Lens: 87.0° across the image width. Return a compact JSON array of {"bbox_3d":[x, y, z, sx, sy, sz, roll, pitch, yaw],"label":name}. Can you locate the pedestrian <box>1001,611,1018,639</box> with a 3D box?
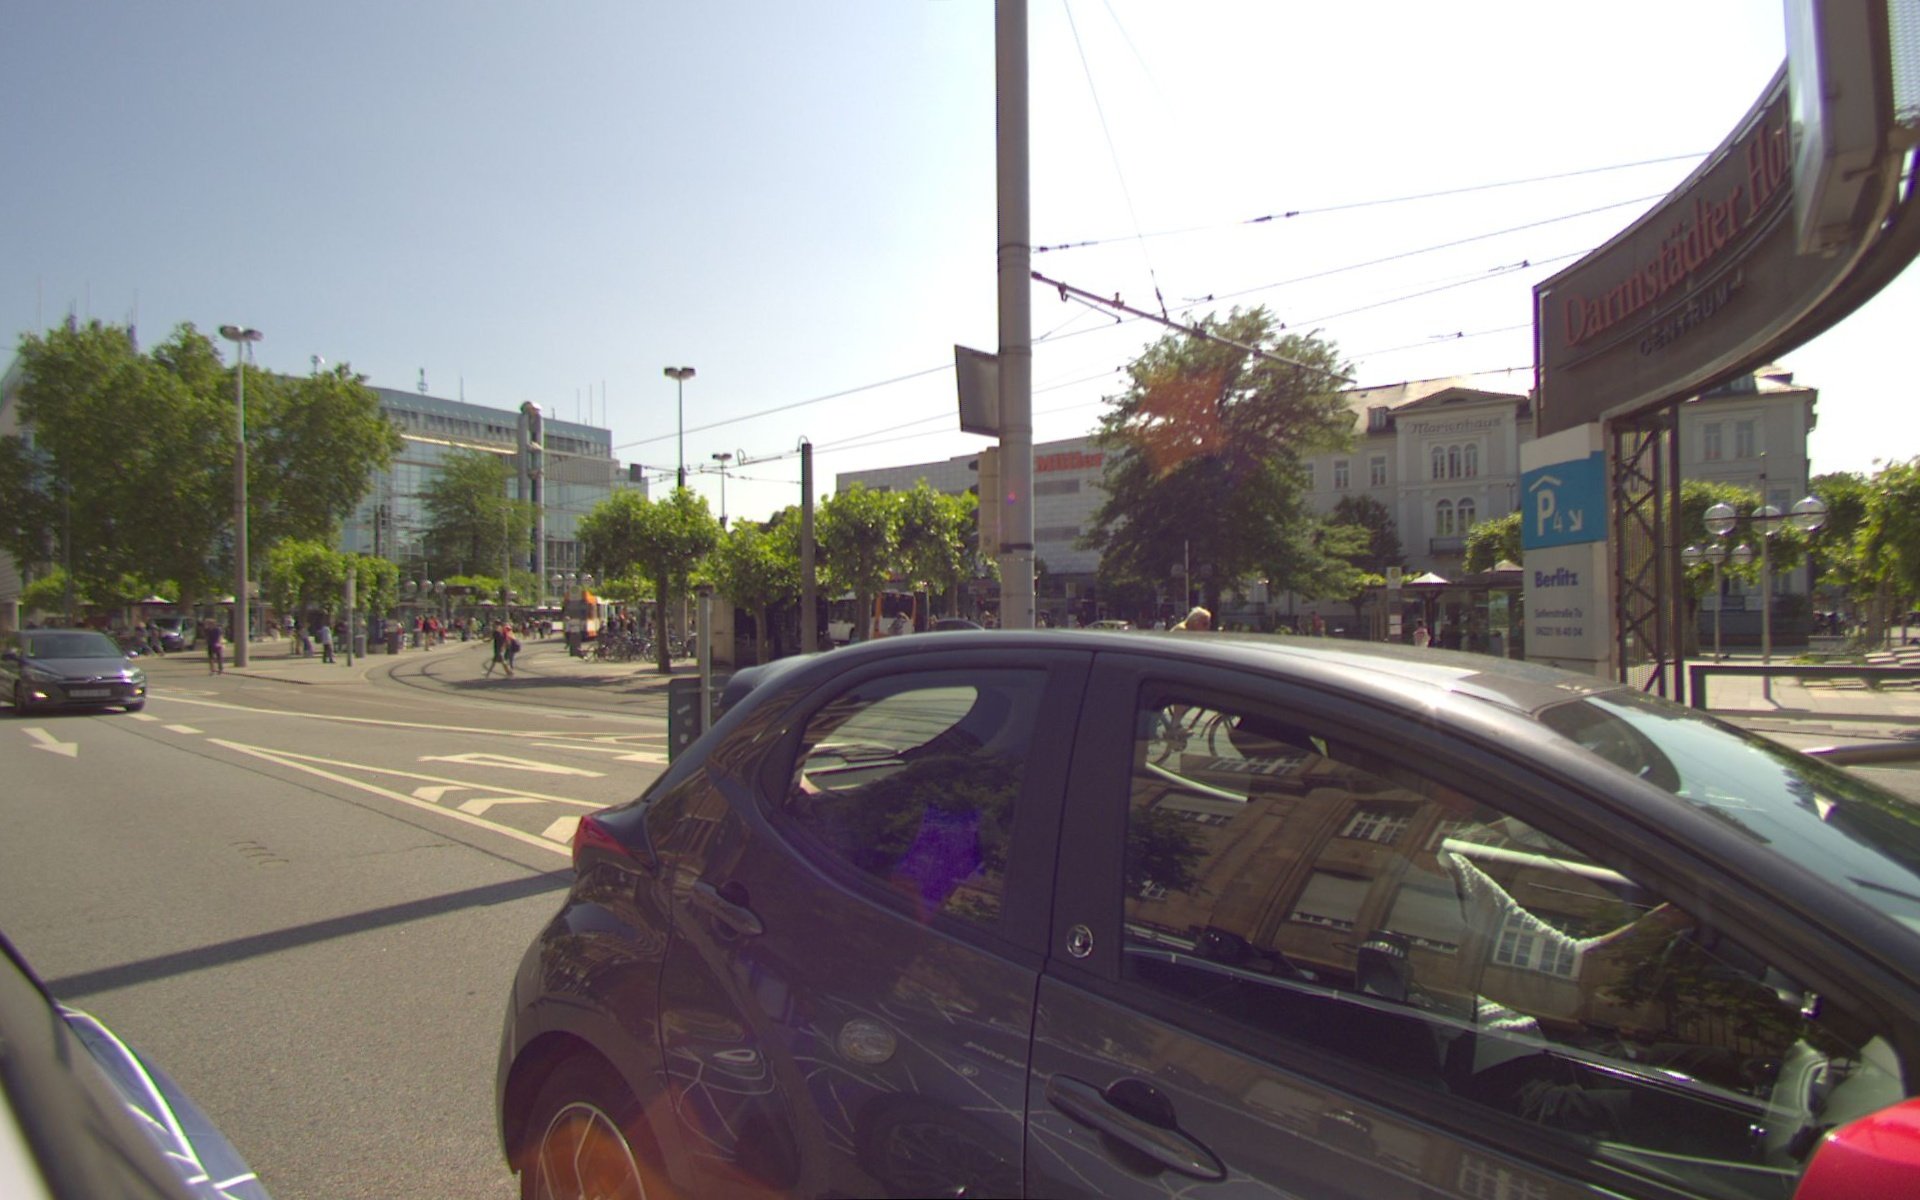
[{"bbox_3d":[2.677,1.364,54.873,0.679,1.477,0.617,-2,-4,36],"label":"pedestrian"}]

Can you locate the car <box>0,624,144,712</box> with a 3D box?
[{"bbox_3d":[-16.311,1.143,18.257,3.995,1.415,1.678,-1,-2,39],"label":"car"}]

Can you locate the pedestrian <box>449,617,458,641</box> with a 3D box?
[{"bbox_3d":[-33.345,1.902,66.598,0.467,1.561,0.493,2,-4,-24],"label":"pedestrian"}]

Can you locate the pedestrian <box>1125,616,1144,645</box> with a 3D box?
[{"bbox_3d":[7.734,1.364,44.912,0.572,1.273,0.624,3,-4,-35],"label":"pedestrian"}]

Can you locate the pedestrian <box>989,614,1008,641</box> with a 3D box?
[{"bbox_3d":[2.107,1.514,55.713,0.741,1.477,0.780,-2,-4,36],"label":"pedestrian"}]

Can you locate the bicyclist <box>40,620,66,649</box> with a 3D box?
[{"bbox_3d":[-50.159,1.897,55.962,1.159,1.509,0.821,-1,1,38],"label":"bicyclist"}]

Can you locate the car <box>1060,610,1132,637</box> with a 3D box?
[{"bbox_3d":[8.309,1.433,61.921,3.991,1.519,1.740,-1,1,35],"label":"car"}]

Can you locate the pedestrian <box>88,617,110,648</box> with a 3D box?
[{"bbox_3d":[-49.893,1.884,58.648,0.739,1.760,0.785,-2,0,-23],"label":"pedestrian"}]

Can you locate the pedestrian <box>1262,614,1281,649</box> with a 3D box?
[{"bbox_3d":[12.564,1.268,40.843,0.616,1.396,0.735,-1,-3,29],"label":"pedestrian"}]

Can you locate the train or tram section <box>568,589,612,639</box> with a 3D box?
[{"bbox_3d":[-30.937,1.064,84.910,2.578,3.856,9.547,-2,1,-16],"label":"train or tram section"}]

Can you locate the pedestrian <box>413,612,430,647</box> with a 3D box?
[{"bbox_3d":[-28.749,1.572,54.009,0.605,1.830,0.570,-3,-4,41],"label":"pedestrian"}]

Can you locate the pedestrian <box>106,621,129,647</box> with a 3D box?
[{"bbox_3d":[-47.693,1.901,57.276,0.780,1.418,0.744,-2,1,31],"label":"pedestrian"}]

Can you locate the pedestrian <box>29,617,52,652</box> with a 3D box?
[{"bbox_3d":[-46.349,1.749,51.036,0.640,1.704,0.637,-2,0,28],"label":"pedestrian"}]

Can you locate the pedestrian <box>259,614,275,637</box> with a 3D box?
[{"bbox_3d":[-56.182,2.074,82.065,0.780,1.760,0.744,-2,1,31],"label":"pedestrian"}]

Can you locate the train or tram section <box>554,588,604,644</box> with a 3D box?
[{"bbox_3d":[-28.365,1.085,75.714,2.578,3.856,9.547,-2,1,-16],"label":"train or tram section"}]

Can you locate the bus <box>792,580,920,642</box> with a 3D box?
[{"bbox_3d":[-6.768,0.650,62.908,3.014,3.445,12.498,-2,1,-30],"label":"bus"}]

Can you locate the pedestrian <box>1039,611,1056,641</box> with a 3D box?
[{"bbox_3d":[4.486,1.340,51.870,0.679,1.477,0.617,-2,-4,36],"label":"pedestrian"}]

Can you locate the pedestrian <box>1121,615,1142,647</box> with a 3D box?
[{"bbox_3d":[7.080,1.293,41.831,0.613,1.273,0.583,3,-4,-40],"label":"pedestrian"}]

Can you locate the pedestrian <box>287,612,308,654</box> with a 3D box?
[{"bbox_3d":[-31.759,1.575,48.506,0.563,2.023,0.686,-1,-1,32],"label":"pedestrian"}]

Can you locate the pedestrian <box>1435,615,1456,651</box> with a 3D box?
[{"bbox_3d":[18.808,1.282,39.215,0.598,1.369,0.562,-2,-4,40],"label":"pedestrian"}]

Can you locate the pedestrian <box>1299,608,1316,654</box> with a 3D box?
[{"bbox_3d":[13.519,1.199,39.397,0.627,1.762,0.542,-1,-3,19],"label":"pedestrian"}]

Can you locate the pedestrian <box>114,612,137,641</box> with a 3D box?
[{"bbox_3d":[-46.918,1.497,56.892,0.780,1.608,0.744,-2,1,31],"label":"pedestrian"}]

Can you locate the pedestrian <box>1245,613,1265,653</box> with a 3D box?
[{"bbox_3d":[12.070,1.356,41.400,0.616,1.611,0.735,-1,-3,29],"label":"pedestrian"}]

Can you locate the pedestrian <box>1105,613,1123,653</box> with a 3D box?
[{"bbox_3d":[7.024,1.496,46.140,0.572,1.792,0.624,3,-4,-35],"label":"pedestrian"}]

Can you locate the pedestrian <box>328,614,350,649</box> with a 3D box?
[{"bbox_3d":[-31.955,1.632,52.101,0.671,1.808,0.625,0,-3,-1],"label":"pedestrian"}]

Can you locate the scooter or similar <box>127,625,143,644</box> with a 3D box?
[{"bbox_3d":[-48.718,2.030,59.771,0.559,1.128,0.540,-2,0,-22],"label":"scooter or similar"}]

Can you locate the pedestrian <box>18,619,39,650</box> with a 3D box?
[{"bbox_3d":[-52.893,1.948,57.459,0.666,1.760,0.742,-1,1,39],"label":"pedestrian"}]

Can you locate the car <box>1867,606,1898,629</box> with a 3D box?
[{"bbox_3d":[85.477,1.599,93.813,2.000,1.929,3.945,-1,1,42],"label":"car"}]

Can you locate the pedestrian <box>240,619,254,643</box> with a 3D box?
[{"bbox_3d":[-50.505,2.197,71.673,0.629,1.706,0.754,-2,0,-26],"label":"pedestrian"}]

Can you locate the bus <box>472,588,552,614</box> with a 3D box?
[{"bbox_3d":[-51.708,0.044,117.370,2.363,2.811,12.152,-2,1,9],"label":"bus"}]

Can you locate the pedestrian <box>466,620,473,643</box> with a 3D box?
[{"bbox_3d":[-33.916,2.185,69.951,0.379,1.561,0.413,2,-4,-24],"label":"pedestrian"}]

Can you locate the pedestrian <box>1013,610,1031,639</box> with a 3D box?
[{"bbox_3d":[3.189,1.285,52.142,0.679,1.477,0.617,-2,-4,36],"label":"pedestrian"}]

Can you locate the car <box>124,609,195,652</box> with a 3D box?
[{"bbox_3d":[-41.872,1.538,53.032,1.966,2.029,5.083,-2,1,-28],"label":"car"}]

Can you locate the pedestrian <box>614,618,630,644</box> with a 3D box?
[{"bbox_3d":[-20.637,1.894,61.818,0.675,1.610,0.621,-1,-4,19],"label":"pedestrian"}]

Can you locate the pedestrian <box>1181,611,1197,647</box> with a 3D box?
[{"bbox_3d":[8.290,1.057,36.647,0.479,1.273,0.400,-1,-4,22],"label":"pedestrian"}]

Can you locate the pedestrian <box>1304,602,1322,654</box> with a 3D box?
[{"bbox_3d":[13.933,1.123,39.943,0.627,2.023,0.542,-1,-3,19],"label":"pedestrian"}]

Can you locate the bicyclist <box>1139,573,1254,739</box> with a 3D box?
[{"bbox_3d":[2.473,0.588,10.591,0.902,1.634,0.809,-3,-5,41],"label":"bicyclist"}]

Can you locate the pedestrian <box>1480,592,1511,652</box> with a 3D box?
[{"bbox_3d":[18.388,0.759,34.745,0.621,2.023,0.736,3,-4,-44],"label":"pedestrian"}]

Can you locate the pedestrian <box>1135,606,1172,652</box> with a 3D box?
[{"bbox_3d":[7.736,1.178,40.434,0.953,1.807,1.082,3,-4,-40],"label":"pedestrian"}]

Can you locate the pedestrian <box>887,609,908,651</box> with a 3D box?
[{"bbox_3d":[-2.438,1.167,39.442,0.549,1.620,0.600,-3,-5,43],"label":"pedestrian"}]

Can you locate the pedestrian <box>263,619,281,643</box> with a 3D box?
[{"bbox_3d":[-50.059,2.247,73.638,0.780,1.760,0.744,-2,1,31],"label":"pedestrian"}]

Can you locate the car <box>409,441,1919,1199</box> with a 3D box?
[{"bbox_3d":[0.813,0.676,1.562,4.000,1.486,1.757,-1,-2,43],"label":"car"}]

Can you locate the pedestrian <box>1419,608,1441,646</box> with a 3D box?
[{"bbox_3d":[17.632,1.004,37.993,0.598,1.401,0.562,-2,-4,40],"label":"pedestrian"}]

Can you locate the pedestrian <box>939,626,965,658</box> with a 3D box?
[{"bbox_3d":[-0.259,1.382,33.172,0.580,1.008,0.627,-3,-5,43],"label":"pedestrian"}]

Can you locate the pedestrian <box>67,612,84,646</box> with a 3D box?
[{"bbox_3d":[-46.431,1.511,53.123,0.516,1.755,0.511,-2,0,28],"label":"pedestrian"}]

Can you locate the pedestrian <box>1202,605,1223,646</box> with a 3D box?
[{"bbox_3d":[10.902,1.100,43.652,0.618,1.742,0.733,-2,-4,40],"label":"pedestrian"}]
